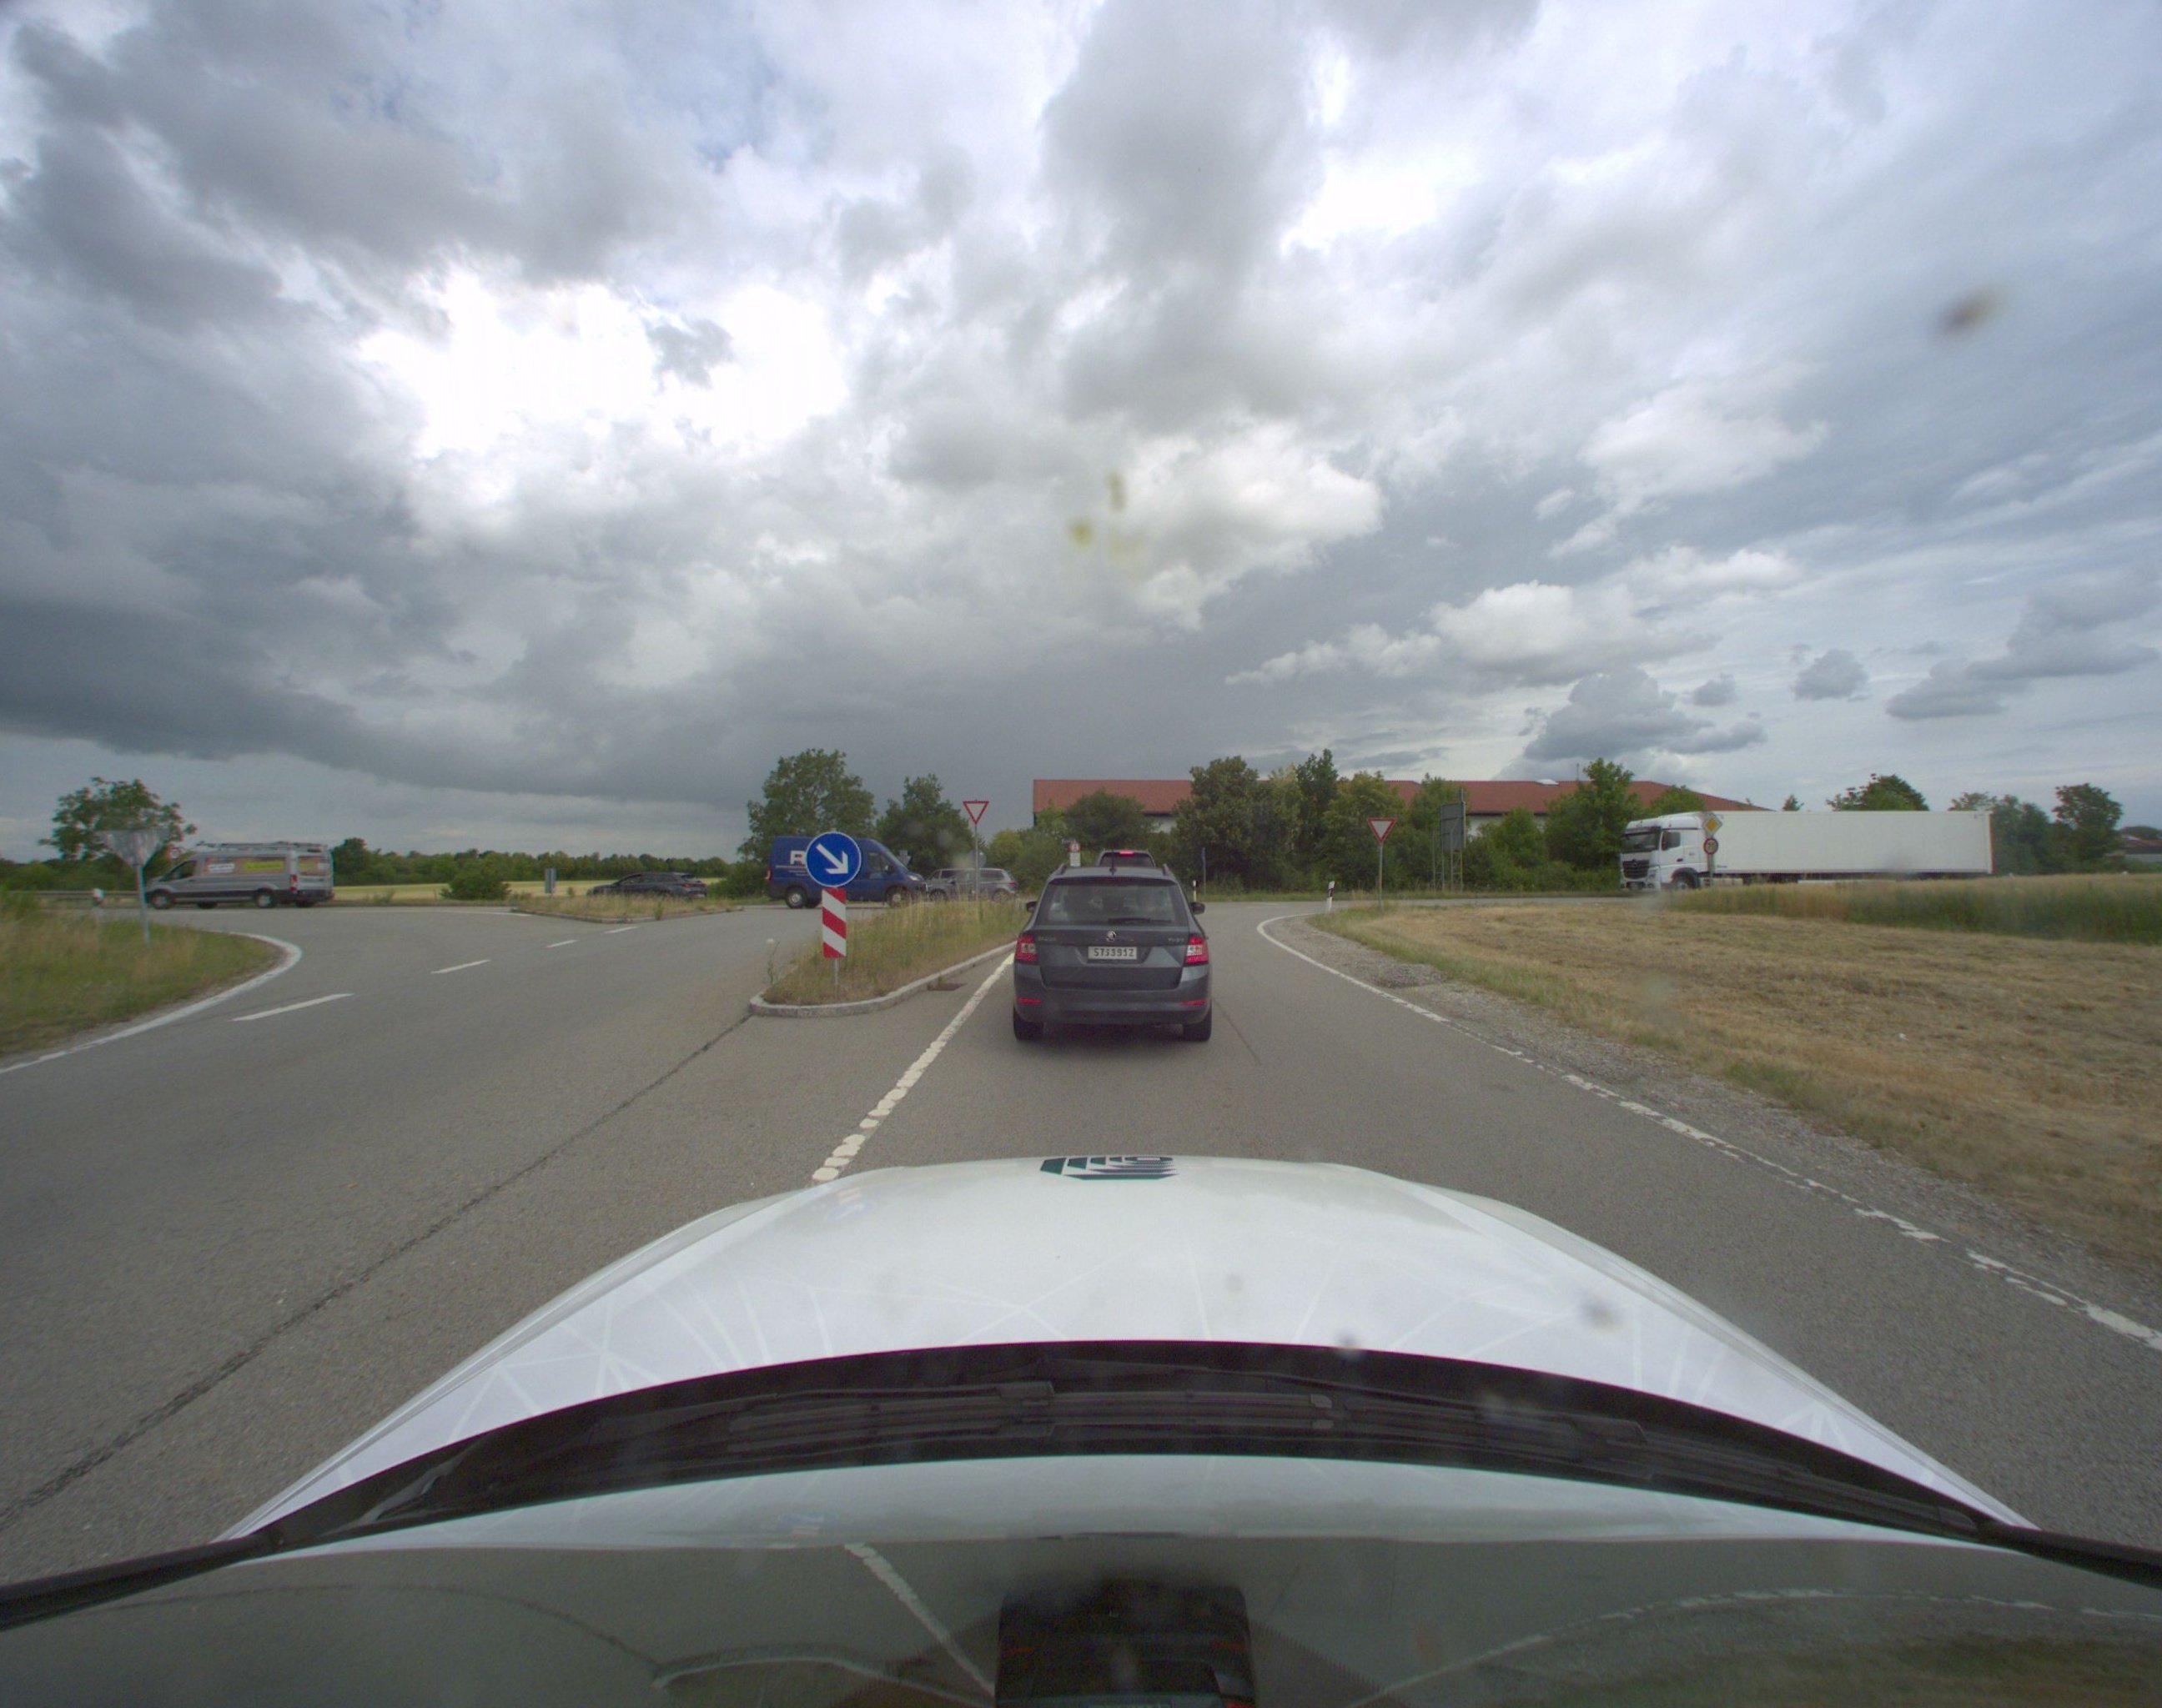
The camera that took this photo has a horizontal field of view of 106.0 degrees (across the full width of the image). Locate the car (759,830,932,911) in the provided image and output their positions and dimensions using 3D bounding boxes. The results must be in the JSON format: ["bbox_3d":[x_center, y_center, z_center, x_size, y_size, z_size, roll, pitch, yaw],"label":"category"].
[{"bbox_3d":[-8.218,0.551,28.902,5.545,2.639,2.145,-1,0,-6],"label":"car"}]

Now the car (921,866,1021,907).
[{"bbox_3d":[-4.775,1.416,35.922,4.202,1.601,1.997,-2,0,-4],"label":"car"}]

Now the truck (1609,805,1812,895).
[{"bbox_3d":[29.679,-0.131,38.609,7.268,4.015,3.124,0,-2,-4],"label":"truck"}]

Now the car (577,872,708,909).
[{"bbox_3d":[-17.737,1.453,33.112,4.333,1.345,1.679,-1,0,-4],"label":"car"}]

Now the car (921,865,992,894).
[{"bbox_3d":[-9.108,1.830,59.545,4.851,2.013,2.357,-1,0,36],"label":"car"}]

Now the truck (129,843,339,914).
[{"bbox_3d":[-34.919,0.983,33.734,6.017,2.703,2.061,-1,0,-7],"label":"truck"}]

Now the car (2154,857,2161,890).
[{"bbox_3d":[55.901,0.906,39.896,4.458,1.682,1.995,-1,-2,-6],"label":"car"}]

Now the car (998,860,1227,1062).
[{"bbox_3d":[0.264,0.794,7.812,1.670,1.463,3.708,0,0,1],"label":"car"}]

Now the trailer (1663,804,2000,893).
[{"bbox_3d":[35.730,-0.222,39.041,13.812,4.015,3.124,0,-2,-4],"label":"trailer"}]

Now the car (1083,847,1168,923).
[{"bbox_3d":[1.063,0.787,21.350,1.987,1.775,4.643,0,-2,0],"label":"car"}]
